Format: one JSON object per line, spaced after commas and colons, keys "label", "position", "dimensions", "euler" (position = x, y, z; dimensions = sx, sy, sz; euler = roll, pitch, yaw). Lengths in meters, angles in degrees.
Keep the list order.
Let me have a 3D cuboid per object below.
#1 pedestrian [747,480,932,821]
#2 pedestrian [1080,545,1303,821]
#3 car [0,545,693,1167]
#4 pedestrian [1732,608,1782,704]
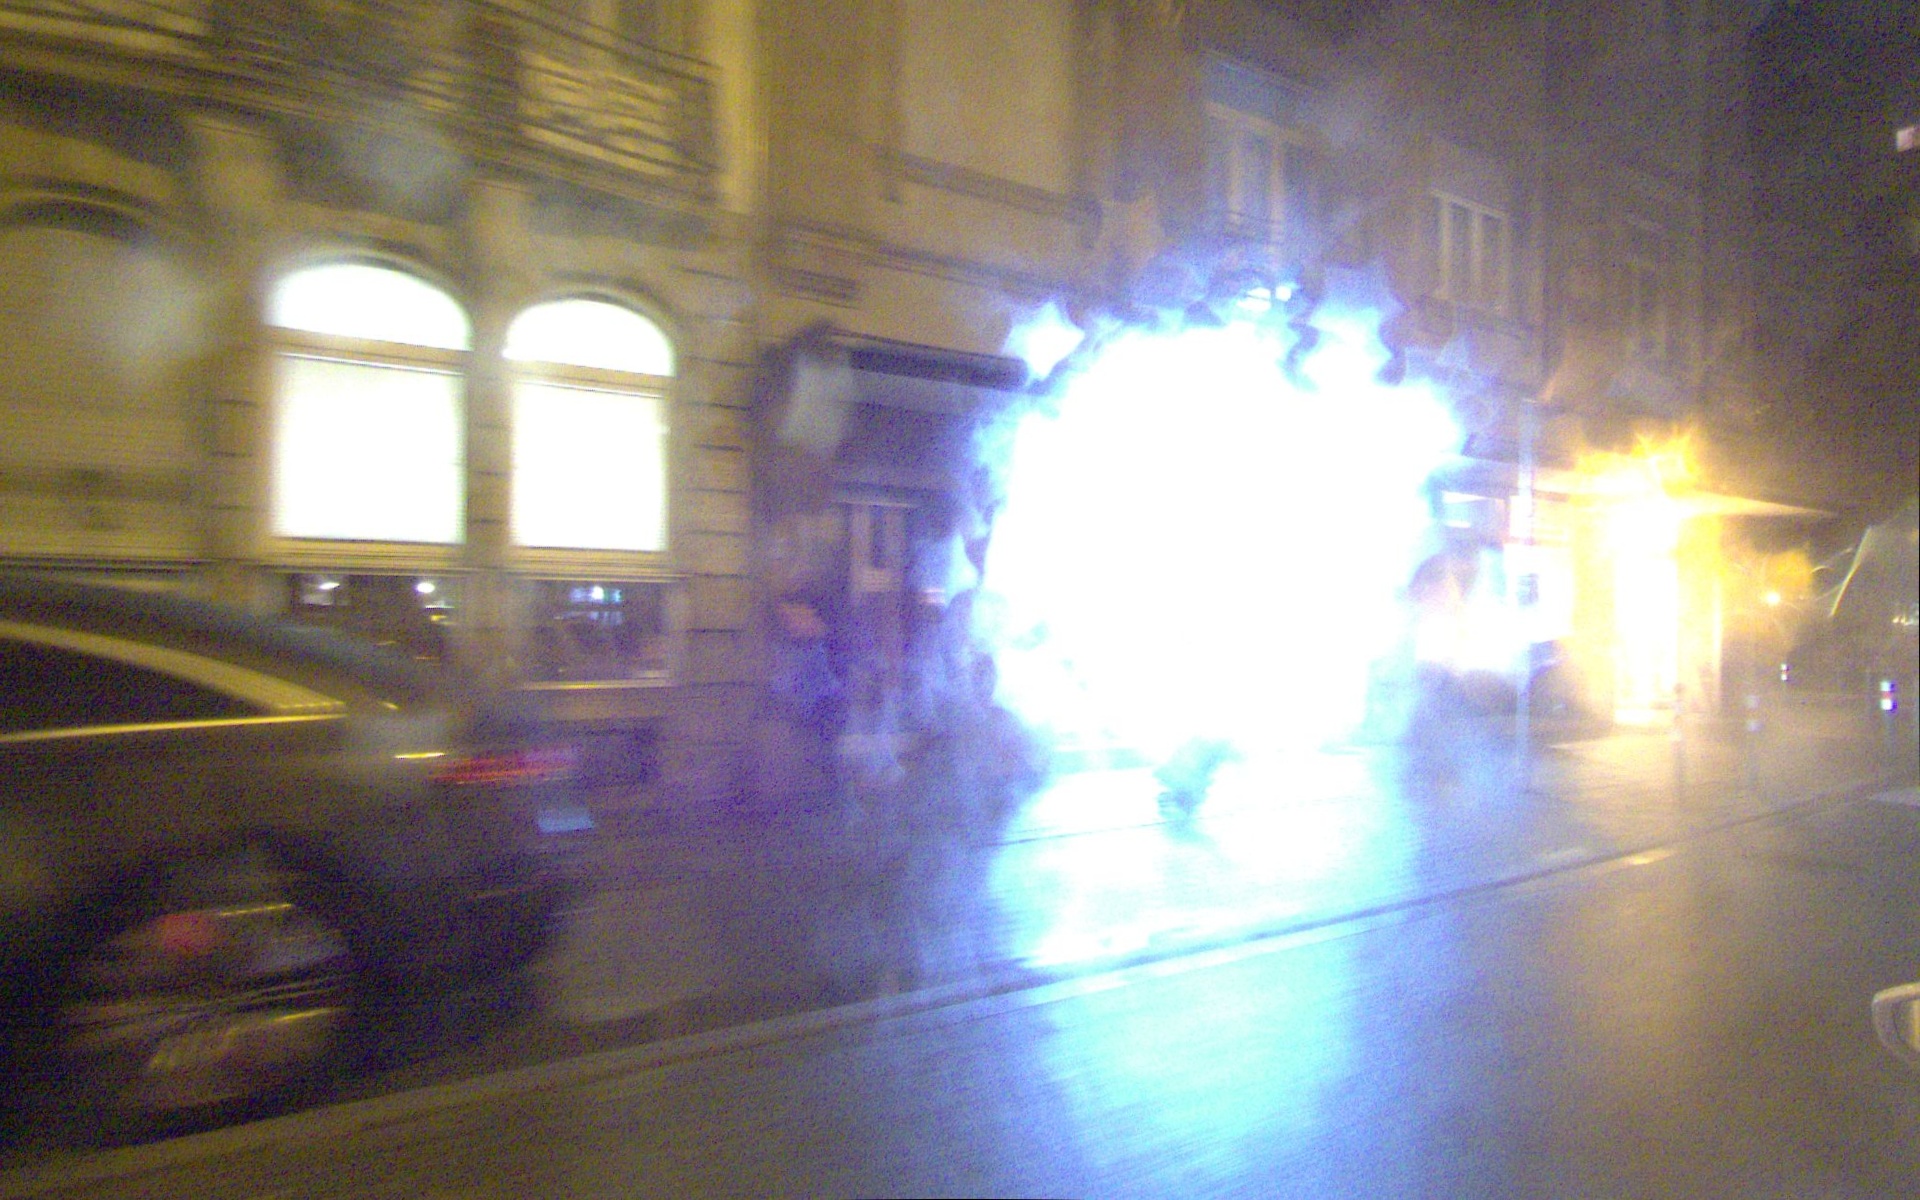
{"label": "pedestrian", "position": [-0.882, 0.350, 7.321], "dimensions": [1.104, 2.270, 0.795], "euler": [1, -1, -31]}
{"label": "pedestrian", "position": [1.757, 0.585, 7.636], "dimensions": [1.399, 1.888, 0.951], "euler": [1, -1, -31]}
{"label": "car", "position": [-3.470, 0.605, 2.814], "dimensions": [4.971, 1.498, 1.838], "euler": [1, -1, -30]}
{"label": "pedestrian", "position": [16.606, 1.156, 20.936], "dimensions": [0.642, 1.934, 0.628], "euler": [2, 0, 28]}
